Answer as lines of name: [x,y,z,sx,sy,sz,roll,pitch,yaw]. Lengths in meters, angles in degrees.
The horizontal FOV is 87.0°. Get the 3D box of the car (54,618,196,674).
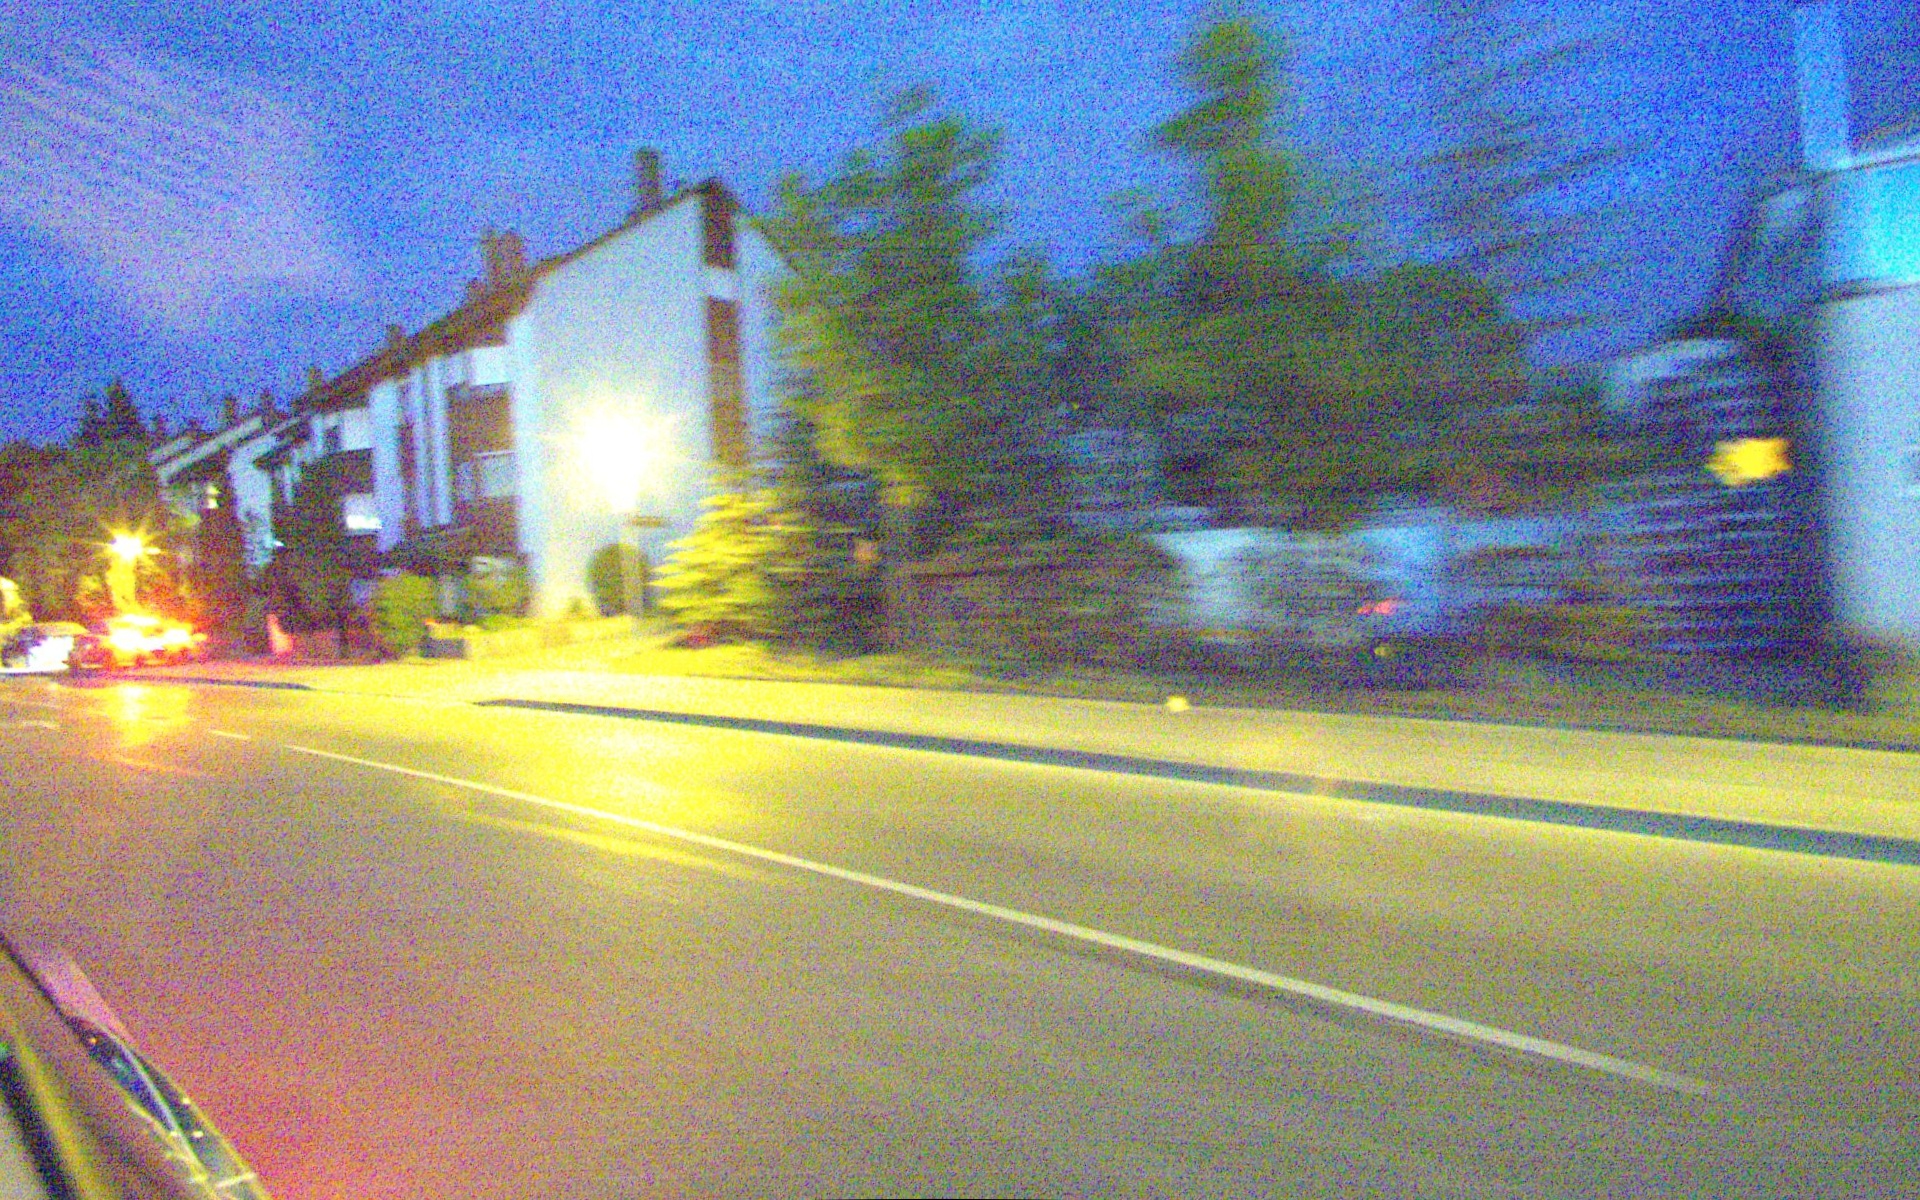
car: [-24.655,1.351,29.824,4.902,1.456,1.834,-2,1,33]

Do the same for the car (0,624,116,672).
car: [-30.233,1.601,33.660,4.583,1.390,1.978,-2,1,33]
